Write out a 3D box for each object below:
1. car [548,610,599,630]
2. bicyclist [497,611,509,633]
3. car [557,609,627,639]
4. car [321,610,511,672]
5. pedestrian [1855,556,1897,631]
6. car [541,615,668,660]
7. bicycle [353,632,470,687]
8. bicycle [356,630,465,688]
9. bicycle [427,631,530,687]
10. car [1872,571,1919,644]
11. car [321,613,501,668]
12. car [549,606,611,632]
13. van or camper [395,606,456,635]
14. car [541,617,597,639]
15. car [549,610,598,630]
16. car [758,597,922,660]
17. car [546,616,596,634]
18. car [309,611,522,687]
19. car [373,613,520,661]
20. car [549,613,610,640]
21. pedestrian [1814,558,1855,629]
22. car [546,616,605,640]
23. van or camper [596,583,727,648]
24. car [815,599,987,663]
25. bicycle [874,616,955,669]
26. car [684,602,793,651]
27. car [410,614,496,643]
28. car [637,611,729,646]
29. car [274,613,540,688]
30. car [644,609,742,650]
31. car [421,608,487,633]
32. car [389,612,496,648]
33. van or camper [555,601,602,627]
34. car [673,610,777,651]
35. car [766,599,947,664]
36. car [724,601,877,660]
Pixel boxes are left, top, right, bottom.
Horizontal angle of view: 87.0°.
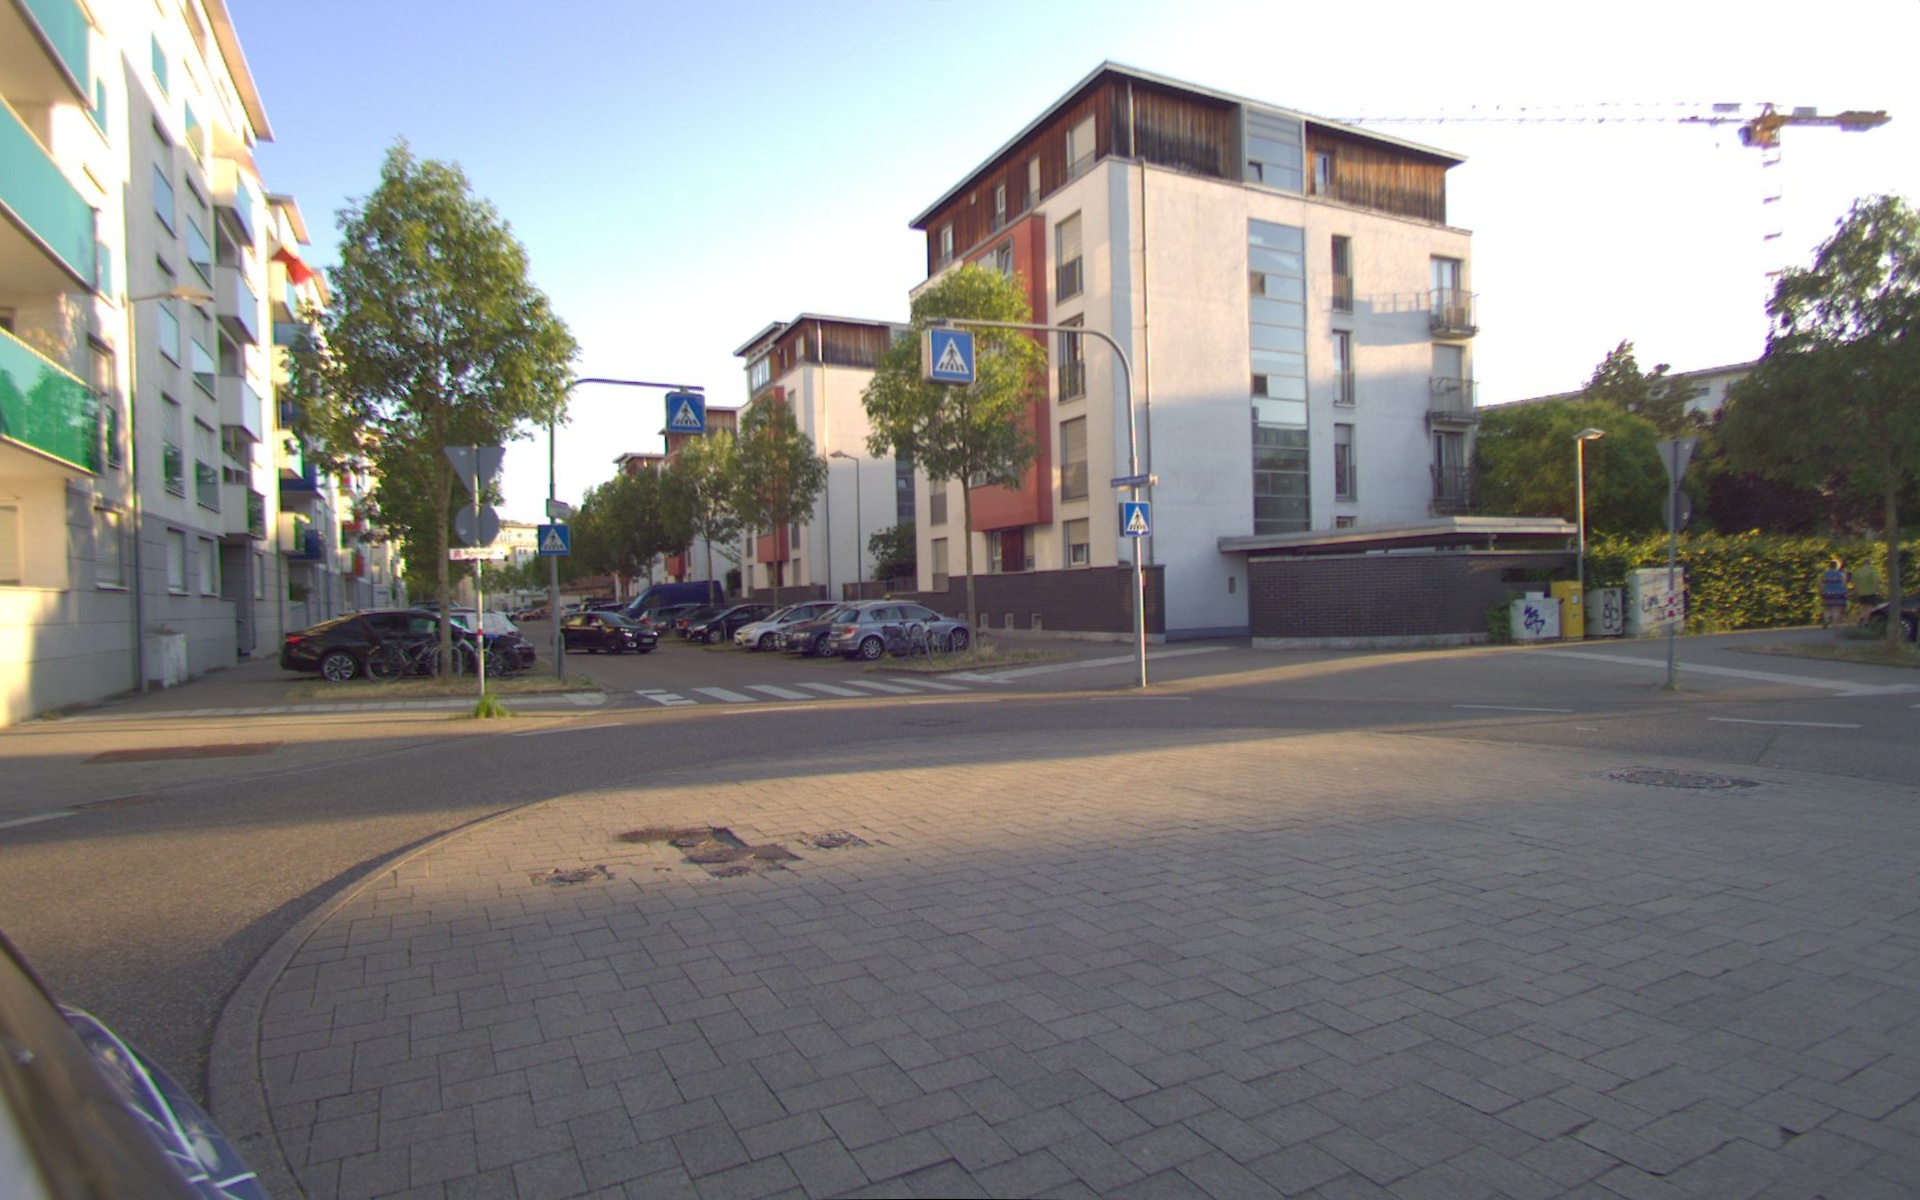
[{"bbox_3d":[-35.041,1.845,91.768,4.180,1.800,1.698,1,-2,-26],"label":"car"},{"bbox_3d":[-35.981,1.746,79.707,0.754,1.640,0.665,-2,-1,-28],"label":"bicyclist"},{"bbox_3d":[-24.402,1.621,67.111,4.181,1.945,1.698,1,-2,-28],"label":"car"},{"bbox_3d":[-14.174,1.076,26.571,4.222,1.505,1.748,1,-2,-27],"label":"car"},{"bbox_3d":[21.284,-0.159,23.526,0.624,1.679,0.734,-3,1,39],"label":"pedestrian"},{"bbox_3d":[-12.218,1.277,34.763,4.157,1.474,1.762,-1,-2,27],"label":"car"},{"bbox_3d":[-10.815,1.159,19.990,2.000,1.054,0.475,1,-3,-31],"label":"bicycle"},{"bbox_3d":[-10.322,1.095,19.024,1.763,1.050,0.569,1,-3,-31],"label":"bicycle"},{"bbox_3d":[-9.568,1.168,20.144,1.809,1.080,0.475,1,-3,-31],"label":"bicycle"},{"bbox_3d":[21.197,0.124,20.651,1.661,1.533,3.422,-2,0,-25],"label":"car"},{"bbox_3d":[-15.453,1.140,28.722,4.223,1.469,1.748,1,-2,-18],"label":"car"},{"bbox_3d":[-28.588,1.443,76.131,4.181,1.945,1.698,1,-2,-28],"label":"car"},{"bbox_3d":[-42.208,1.639,79.944,4.180,2.228,1.698,1,-2,-27],"label":"van or camper"},{"bbox_3d":[-32.778,2.377,84.768,4.181,1.800,1.698,1,-2,-28],"label":"car"},{"bbox_3d":[-36.897,1.943,96.664,4.180,1.800,1.698,1,-2,-26],"label":"car"},{"bbox_3d":[-3.732,0.862,31.601,4.706,1.566,1.716,-4,0,-23],"label":"car"},{"bbox_3d":[-36.059,2.331,93.870,4.180,1.651,1.698,1,-2,-26],"label":"car"},{"bbox_3d":[-12.907,1.130,24.310,4.339,1.519,1.748,-2,-1,-24],"label":"car"},{"bbox_3d":[-16.921,1.226,33.397,4.223,1.519,1.691,1,-2,-30],"label":"car"},{"bbox_3d":[-29.364,2.047,78.153,4.181,2.018,1.698,1,-2,-28],"label":"car"},{"bbox_3d":[20.683,-0.159,23.942,0.656,1.611,0.704,-3,1,39],"label":"pedestrian"},{"bbox_3d":[-30.349,2.213,79.878,4.181,1.800,1.698,1,-2,-28],"label":"car"},{"bbox_3d":[-15.975,0.807,54.220,6.211,3.110,2.449,-3,0,-31],"label":"van or camper"},{"bbox_3d":[-1.560,0.798,27.164,4.221,1.469,1.686,-2,-1,-29],"label":"car"},{"bbox_3d":[-1.073,1.002,24.254,1.792,1.074,0.569,-5,0,-29],"label":"bicycle"},{"bbox_3d":[-8.840,1.044,40.471,3.854,1.723,1.729,-3,0,-31],"label":"car"},{"bbox_3d":[-28.037,1.617,56.065,4.180,1.548,1.698,1,-2,-26],"label":"car"},{"bbox_3d":[-13.544,1.400,49.502,4.034,1.638,1.729,1,-2,-31],"label":"car"},{"bbox_3d":[-11.688,1.065,21.786,4.806,1.469,1.944,1,-2,-25],"label":"car"},{"bbox_3d":[-12.392,1.345,46.990,4.035,1.637,1.729,-3,0,-31],"label":"car"},{"bbox_3d":[-36.644,1.499,73.340,4.180,1.792,1.698,1,-2,-26],"label":"car"},{"bbox_3d":[-22.540,1.315,44.149,4.034,1.520,1.671,1,-2,-31],"label":"car"},{"bbox_3d":[-38.249,1.440,101.490,4.180,2.554,1.766,1,-2,-26],"label":"van or camper"},{"bbox_3d":[-9.884,1.267,42.653,3.854,1.527,1.729,-3,0,-31],"label":"car"},{"bbox_3d":[-2.957,0.875,29.280,4.835,1.489,1.716,-4,0,-29],"label":"car"},{"bbox_3d":[-5.328,0.982,34.053,4.682,1.597,1.764,-4,0,-31],"label":"car"}]
